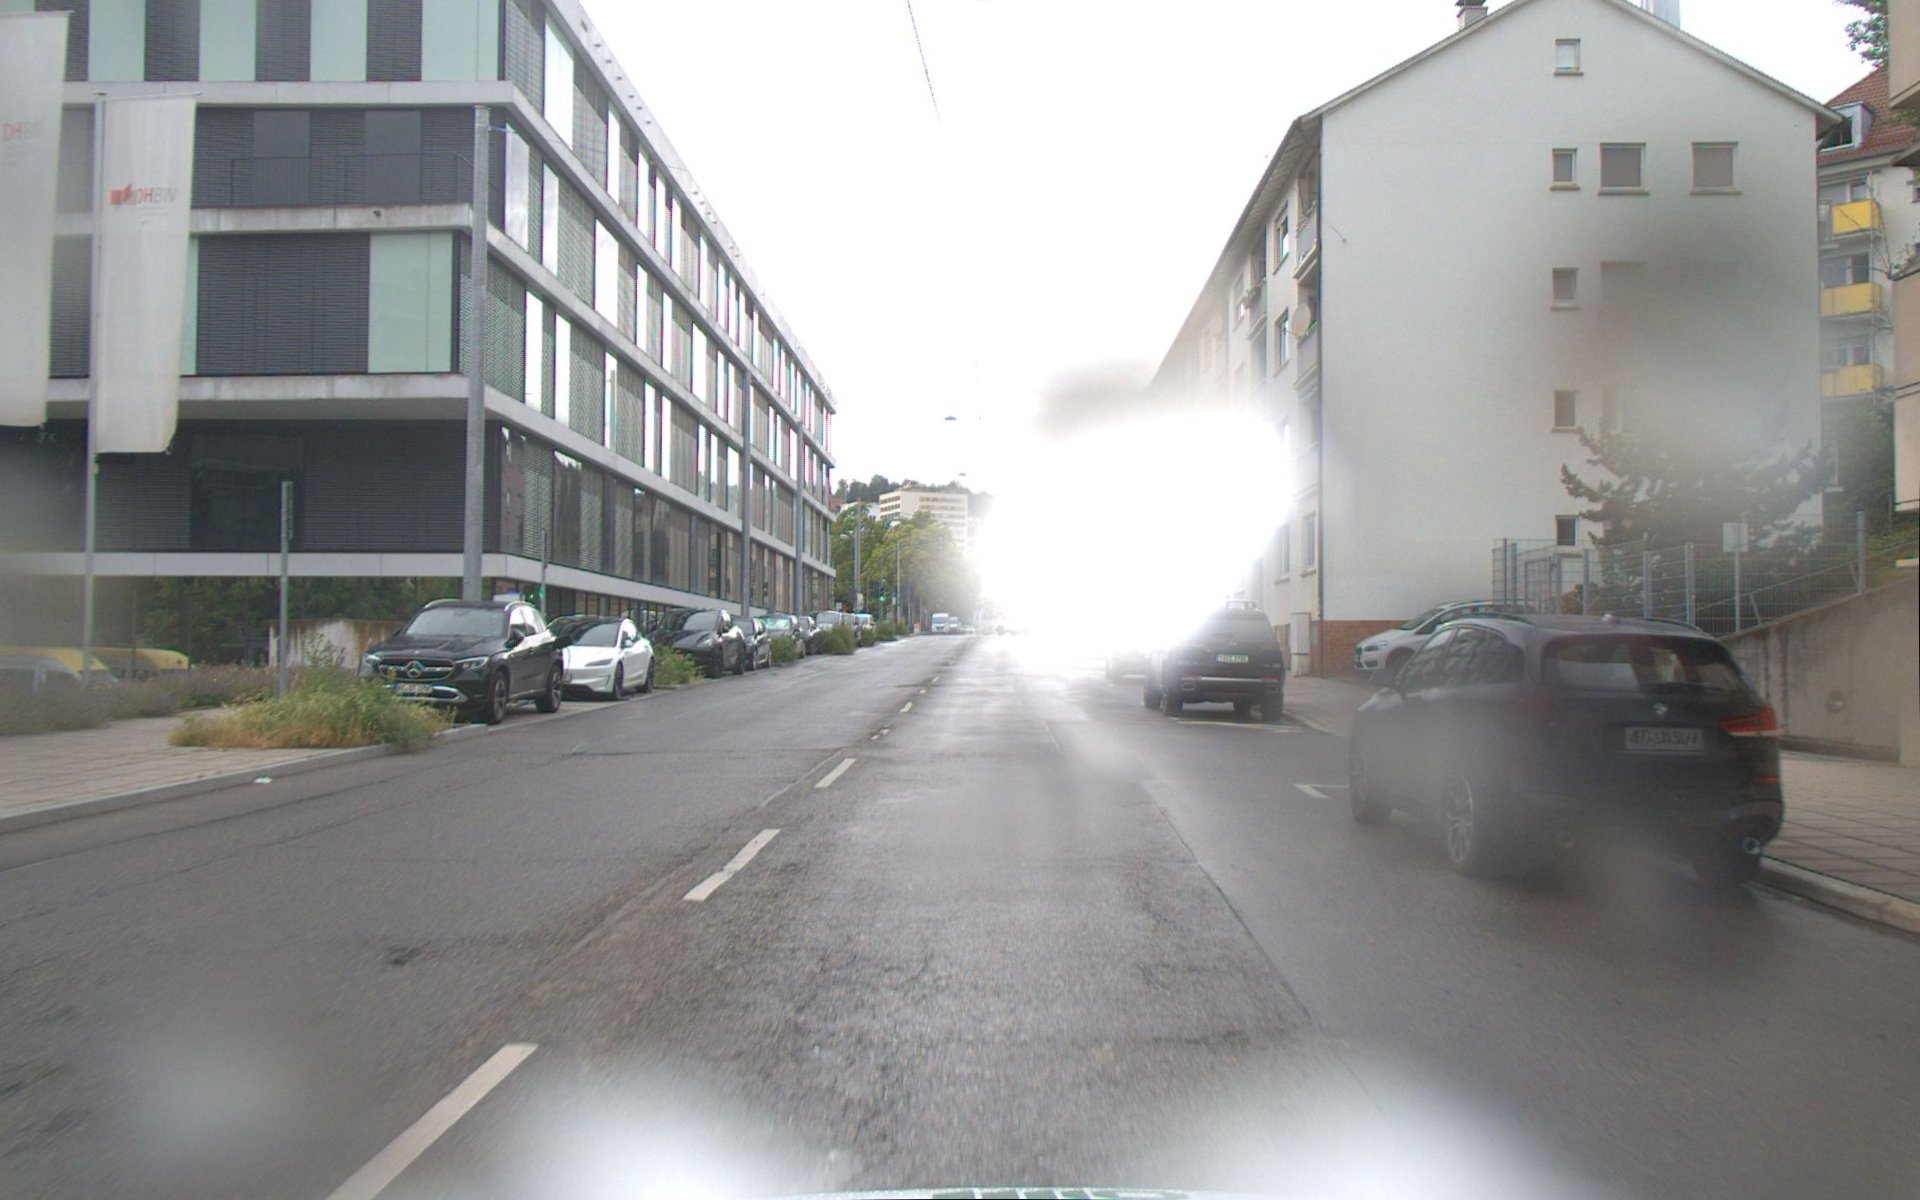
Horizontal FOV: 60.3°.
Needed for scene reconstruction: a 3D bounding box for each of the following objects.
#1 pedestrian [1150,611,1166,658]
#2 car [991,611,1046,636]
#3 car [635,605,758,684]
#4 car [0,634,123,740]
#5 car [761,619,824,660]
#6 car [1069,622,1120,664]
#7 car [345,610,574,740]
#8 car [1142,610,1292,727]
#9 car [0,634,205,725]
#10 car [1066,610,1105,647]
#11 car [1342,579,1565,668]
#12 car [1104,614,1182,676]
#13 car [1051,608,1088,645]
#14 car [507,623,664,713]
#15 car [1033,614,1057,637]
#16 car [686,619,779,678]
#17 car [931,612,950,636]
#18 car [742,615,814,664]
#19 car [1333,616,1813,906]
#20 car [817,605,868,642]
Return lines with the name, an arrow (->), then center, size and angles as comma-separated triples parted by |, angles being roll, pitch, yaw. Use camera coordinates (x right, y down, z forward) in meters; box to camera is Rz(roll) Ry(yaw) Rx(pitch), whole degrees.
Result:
pedestrian -> 8.143, 1.422, 68.017 | 0.625, 1.903, 0.539 | 1, -1, 3
car -> 4.426, 1.783, 125.742 | 4.128, 1.698, 1.631 | -3, -5, 41
car -> -6.407, 1.035, 40.715 | 1.921, 1.781, 4.944 | 1, 0, 4
car -> -21.251, 1.885, 36.514 | 4.500, 2.212, 1.929 | 1, 0, -5
car -> -6.261, 1.459, 62.362 | 1.799, 1.420, 4.393 | 1, 0, 1
car -> 5.066, 1.607, 62.598 | 1.671, 1.480, 3.985 | 1, 0, 1
car -> -7.070, 0.997, 23.875 | 1.811, 1.646, 4.491 | 1, 0, 1
car -> 4.309, 1.099, 28.429 | 1.895, 1.781, 4.797 | 1, 0, 1
car -> -21.021, 1.928, 40.562 | 4.252, 2.068, 1.598 | 1, 0, 1
car -> 5.790, 1.308, 76.695 | 1.601, 1.598, 3.711 | 1, 0, 1
car -> 10.949, 0.513, 36.902 | 4.347, 1.742, 1.905 | -3, 0, 0
car -> 4.736, 1.137, 43.186 | 1.638, 1.485, 3.765 | 1, 0, 1
car -> 5.503, 1.303, 83.461 | 1.620, 1.768, 4.180 | 0, 1, 1
car -> -6.819, 1.197, 30.575 | 1.783, 1.443, 4.403 | 1, 0, 1
car -> 6.969, 2.043, 134.963 | 1.827, 1.801, 4.191 | 1, 0, 4
car -> -6.356, 1.325, 46.666 | 1.832, 1.498, 4.741 | 1, 0, 1
car -> -2.228, 2.751, 190.799 | 2.062, 2.591, 4.750 | 1, 0, -1
car -> -6.108, 1.312, 56.012 | 1.824, 1.515, 4.347 | 1, 0, 1
car -> 3.944, 0.929, 11.481 | 1.707, 1.560, 4.319 | 1, 0, 0
car -> -5.509, 1.103, 78.035 | 1.764, 1.632, 4.236 | 1, -1, 4
